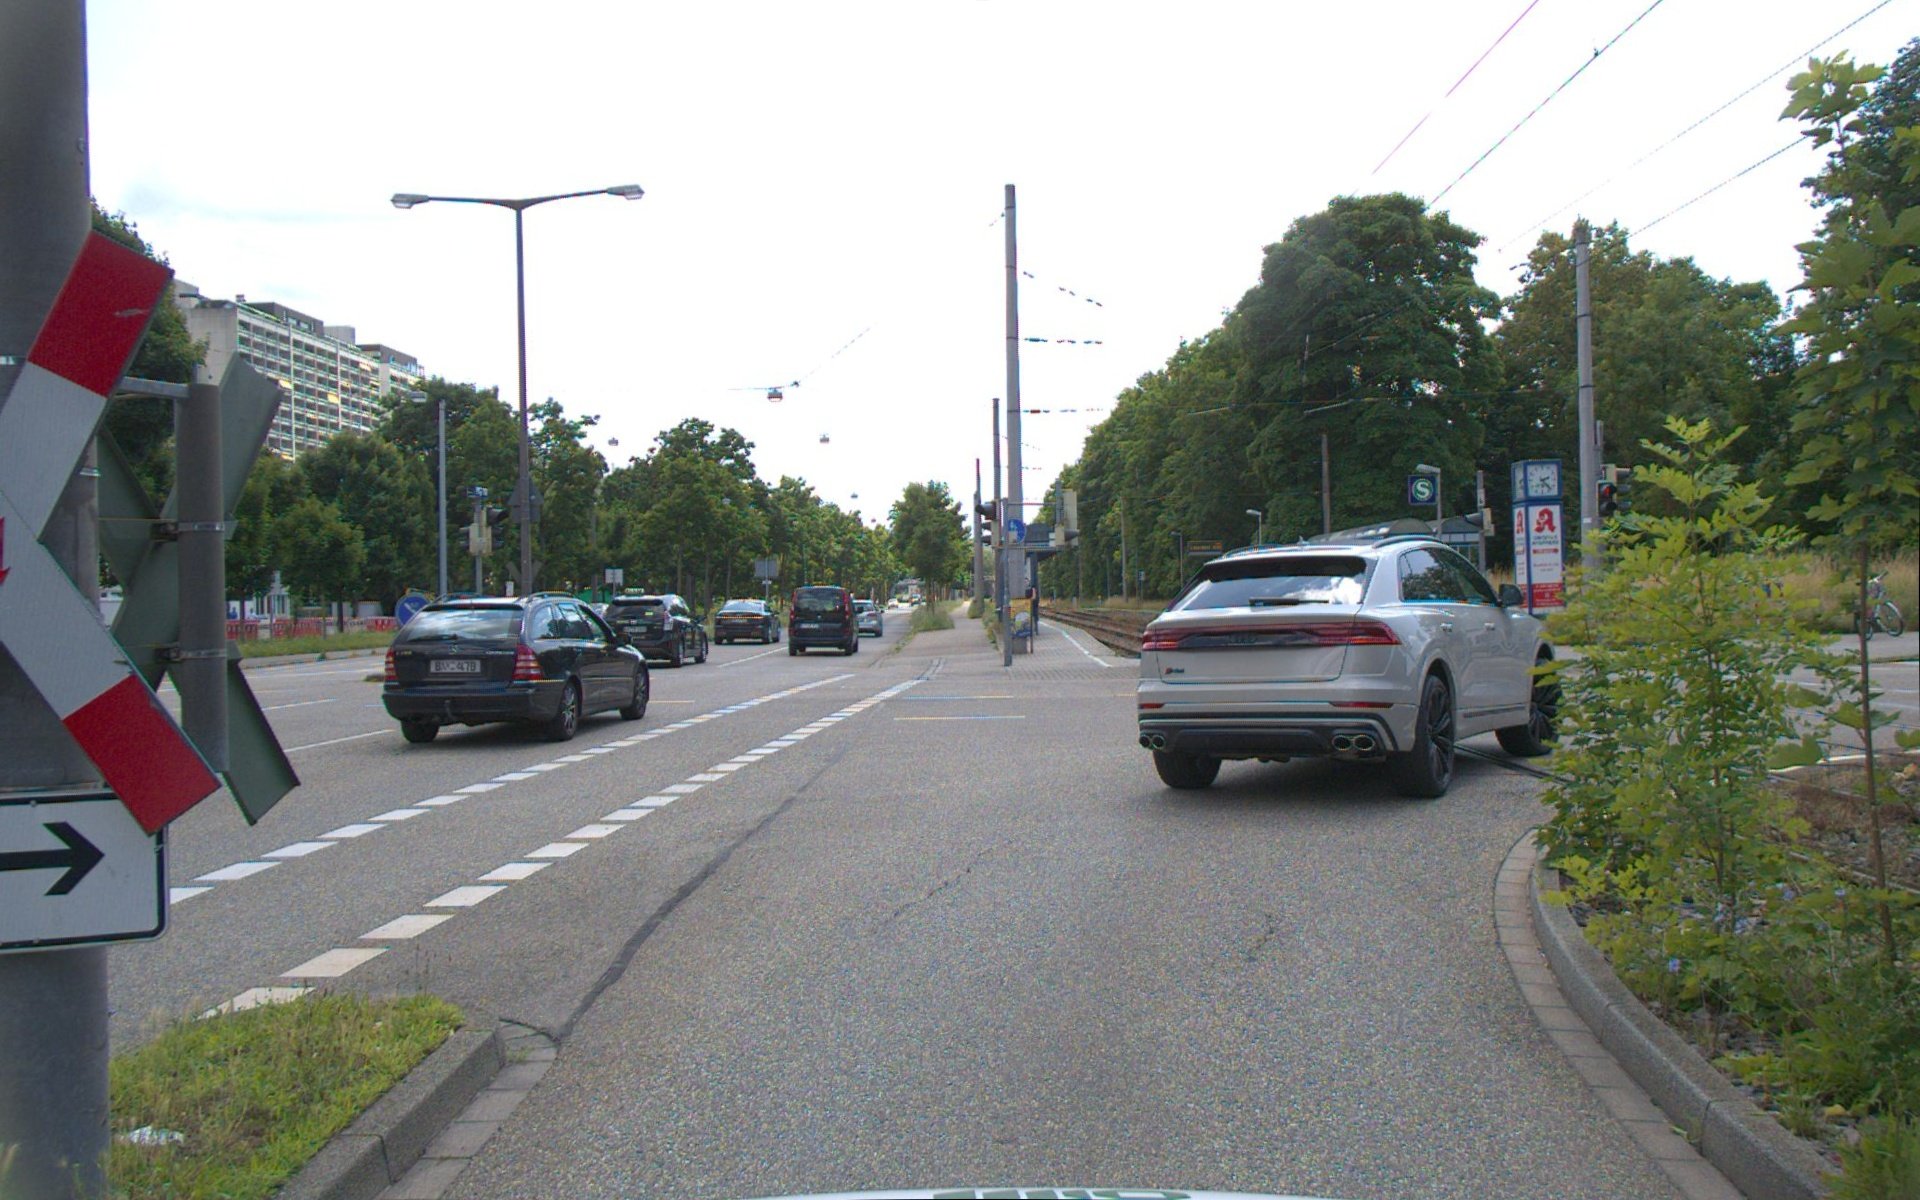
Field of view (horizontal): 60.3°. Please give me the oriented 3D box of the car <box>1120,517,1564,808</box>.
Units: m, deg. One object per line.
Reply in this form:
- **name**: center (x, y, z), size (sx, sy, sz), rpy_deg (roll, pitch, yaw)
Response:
- **car**: center (3.026, 0.355, 12.240), size (1.944, 1.713, 4.566), rpy_deg (-1, 0, 30)

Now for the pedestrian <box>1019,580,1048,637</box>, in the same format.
- **pedestrian**: center (2.026, 0.222, 45.779), size (0.641, 1.540, 0.717), rpy_deg (-2, 0, -8)

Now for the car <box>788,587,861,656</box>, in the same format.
- **car**: center (-3.708, 0.570, 45.658), size (1.724, 1.808, 3.908), rpy_deg (0, 0, -1)

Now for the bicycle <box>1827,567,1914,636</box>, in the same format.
- **bicycle**: center (16.532, 0.019, 30.013), size (1.641, 1.152, 0.693), rpy_deg (-4, 2, -34)

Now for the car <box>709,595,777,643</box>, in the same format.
- **car**: center (-7.184, 0.608, 55.164), size (1.826, 1.531, 3.999), rpy_deg (0, 0, -1)

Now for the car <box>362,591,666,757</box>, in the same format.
- **car**: center (-4.518, 0.672, 17.474), size (1.718, 1.491, 4.435), rpy_deg (-2, 0, 4)

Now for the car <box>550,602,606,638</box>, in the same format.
- **car**: center (-17.978, 0.918, 77.886), size (1.749, 1.621, 3.772), rpy_deg (-2, 0, -1)

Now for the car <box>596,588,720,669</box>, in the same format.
- **car**: center (-6.686, 0.613, 37.037), size (1.748, 1.697, 4.342), rpy_deg (0, 0, 3)

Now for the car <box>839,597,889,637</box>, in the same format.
- **car**: center (-3.825, 0.662, 66.693), size (1.749, 1.552, 4.301), rpy_deg (0, 0, 0)
